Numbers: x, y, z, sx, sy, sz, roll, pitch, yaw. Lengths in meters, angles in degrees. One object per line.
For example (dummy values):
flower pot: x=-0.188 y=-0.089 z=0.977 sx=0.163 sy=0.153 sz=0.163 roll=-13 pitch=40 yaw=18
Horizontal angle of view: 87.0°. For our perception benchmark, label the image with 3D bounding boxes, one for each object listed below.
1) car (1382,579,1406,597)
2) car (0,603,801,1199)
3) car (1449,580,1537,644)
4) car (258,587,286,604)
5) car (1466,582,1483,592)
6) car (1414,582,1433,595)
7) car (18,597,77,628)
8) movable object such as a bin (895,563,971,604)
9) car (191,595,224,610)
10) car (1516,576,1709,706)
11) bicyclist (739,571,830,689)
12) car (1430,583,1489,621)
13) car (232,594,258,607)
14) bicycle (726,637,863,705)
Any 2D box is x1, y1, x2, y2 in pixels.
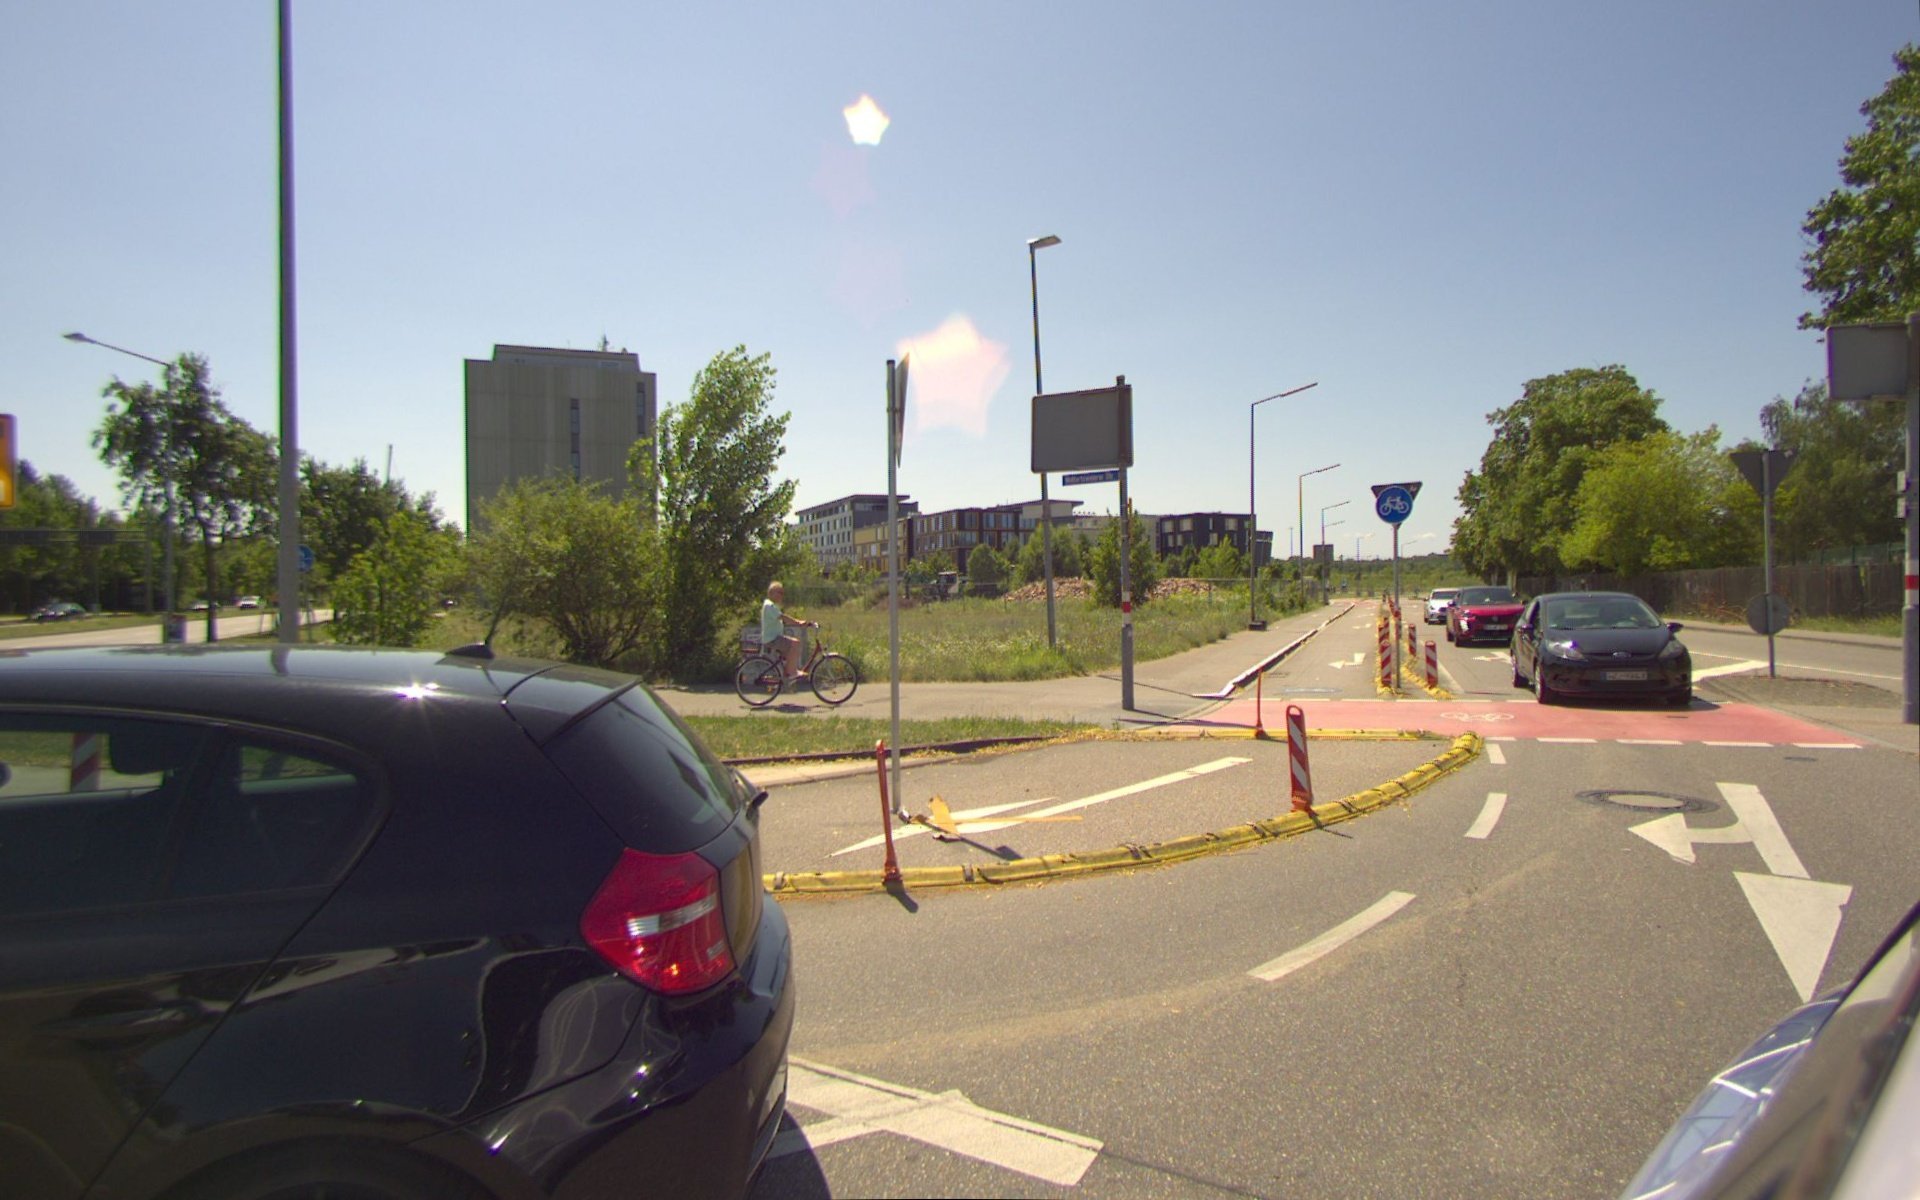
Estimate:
car: x=37.952 y=-1.040 z=88.555 sx=1.738 sy=1.564 sz=3.669 roll=-1 pitch=1 yaw=21
car: x=-2.346 y=0.771 z=2.247 sx=3.918 sy=1.458 sz=1.805 roll=-1 pitch=-1 yaw=-9
car: x=13.917 y=0.264 z=26.619 sx=1.702 sy=1.546 sz=4.178 roll=-1 pitch=1 yaw=24
car: x=-76.210 y=-0.476 z=112.070 sx=1.769 sy=1.713 sz=4.149 roll=-3 pitch=0 yaw=-24
car: x=78.441 y=-1.926 z=154.294 sx=1.697 sy=1.482 sz=3.821 roll=1 pitch=1 yaw=18
car: x=54.380 y=-1.341 z=118.807 sx=1.738 sy=1.564 sz=3.669 roll=-1 pitch=1 yaw=21
car: x=-64.943 y=0.902 z=72.091 sx=1.959 sy=2.039 sz=4.006 roll=-3 pitch=0 yaw=-25
movable object such as a bin: x=-2.166 y=-1.475 z=85.057 sx=2.791 sy=3.188 sz=7.524 roll=-2 pitch=1 yaw=31
car: x=-78.256 y=0.277 z=105.290 sx=1.936 sy=1.507 sz=4.007 roll=-1 pitch=0 yaw=-24
car: x=8.802 y=0.463 z=13.961 sx=1.616 sy=1.527 sz=3.789 roll=-1 pitch=1 yaw=24
bicyclist: x=-2.528 y=0.417 z=14.667 sx=1.142 sy=1.661 sz=0.748 roll=-1 pitch=0 yaw=4
car: x=20.415 y=0.055 z=41.484 sx=1.843 sy=1.446 sz=3.970 roll=-2 pitch=0 yaw=23
car: x=-87.451 y=0.038 z=123.793 sx=1.830 sy=1.574 sz=4.006 roll=-1 pitch=0 yaw=-25
bicycle: x=-2.371 y=1.015 z=14.574 sx=1.842 sy=0.890 sz=0.628 roll=-2 pitch=0 yaw=4
